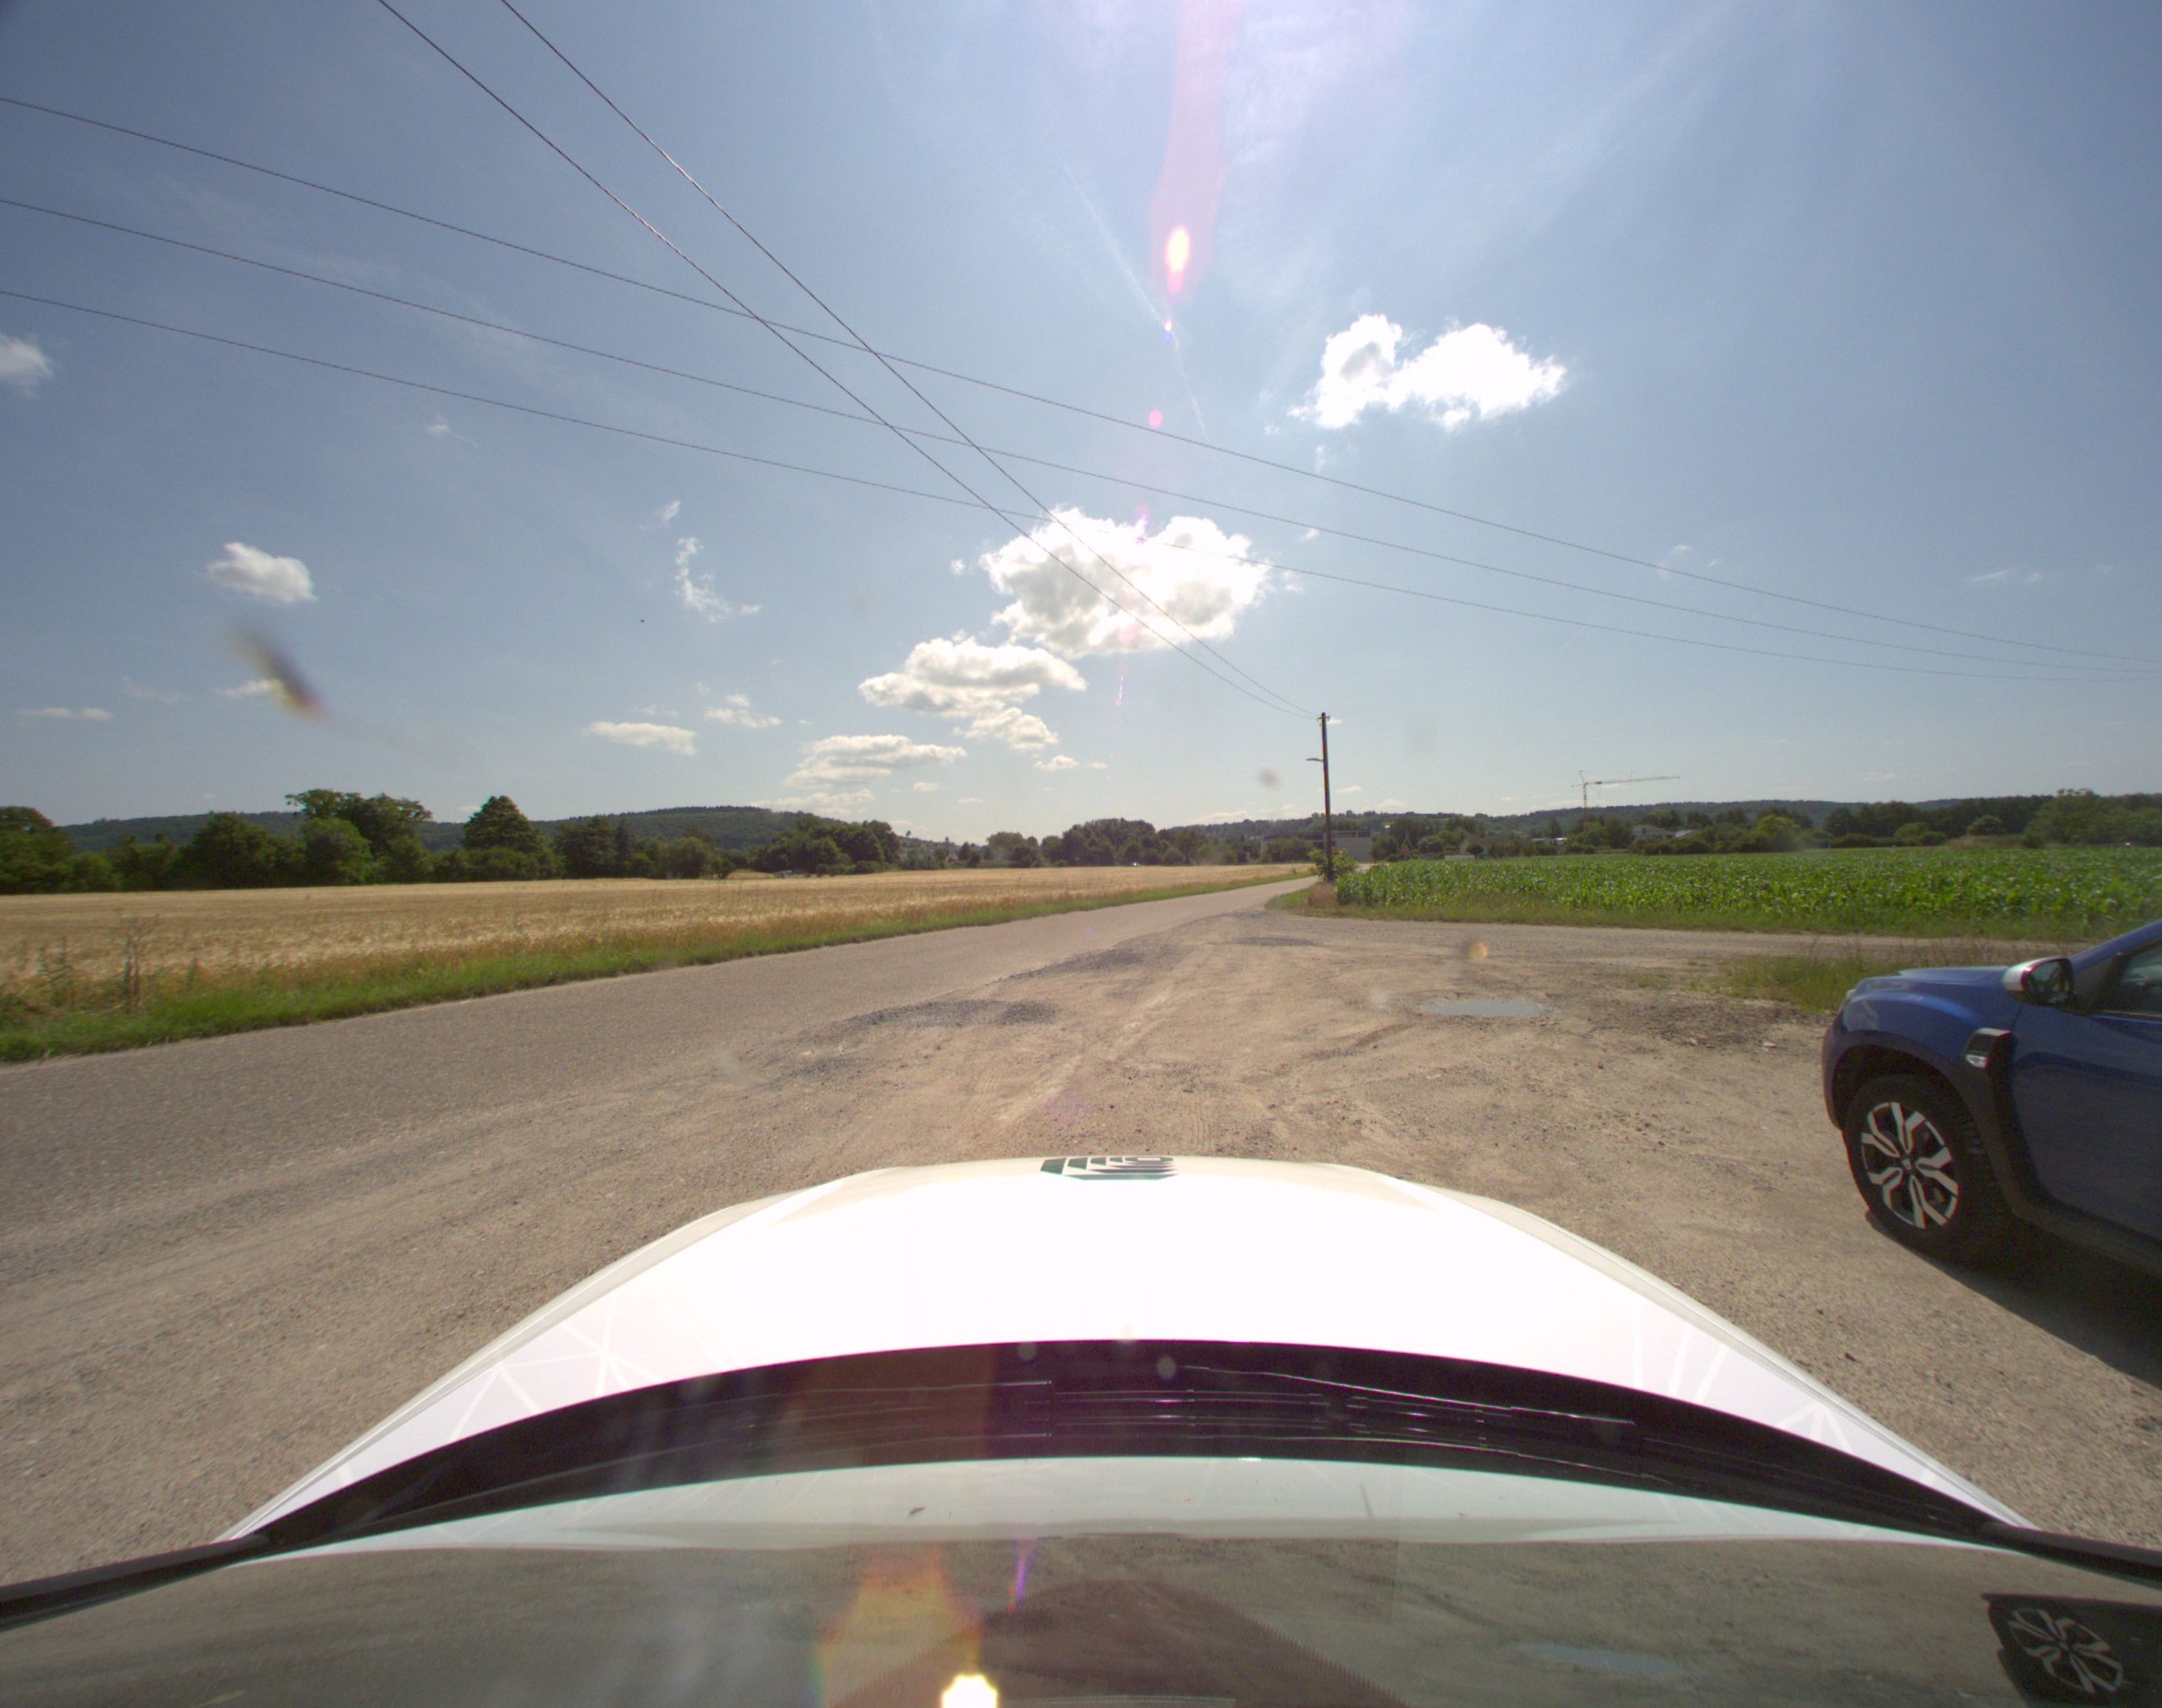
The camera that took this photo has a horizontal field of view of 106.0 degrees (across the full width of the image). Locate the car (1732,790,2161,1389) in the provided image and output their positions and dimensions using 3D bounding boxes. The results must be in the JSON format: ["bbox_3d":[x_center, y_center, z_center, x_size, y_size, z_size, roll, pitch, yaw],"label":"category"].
[{"bbox_3d":[3.849,0.638,1.857,1.846,1.661,4.472,-1,-1,12],"label":"car"}]
